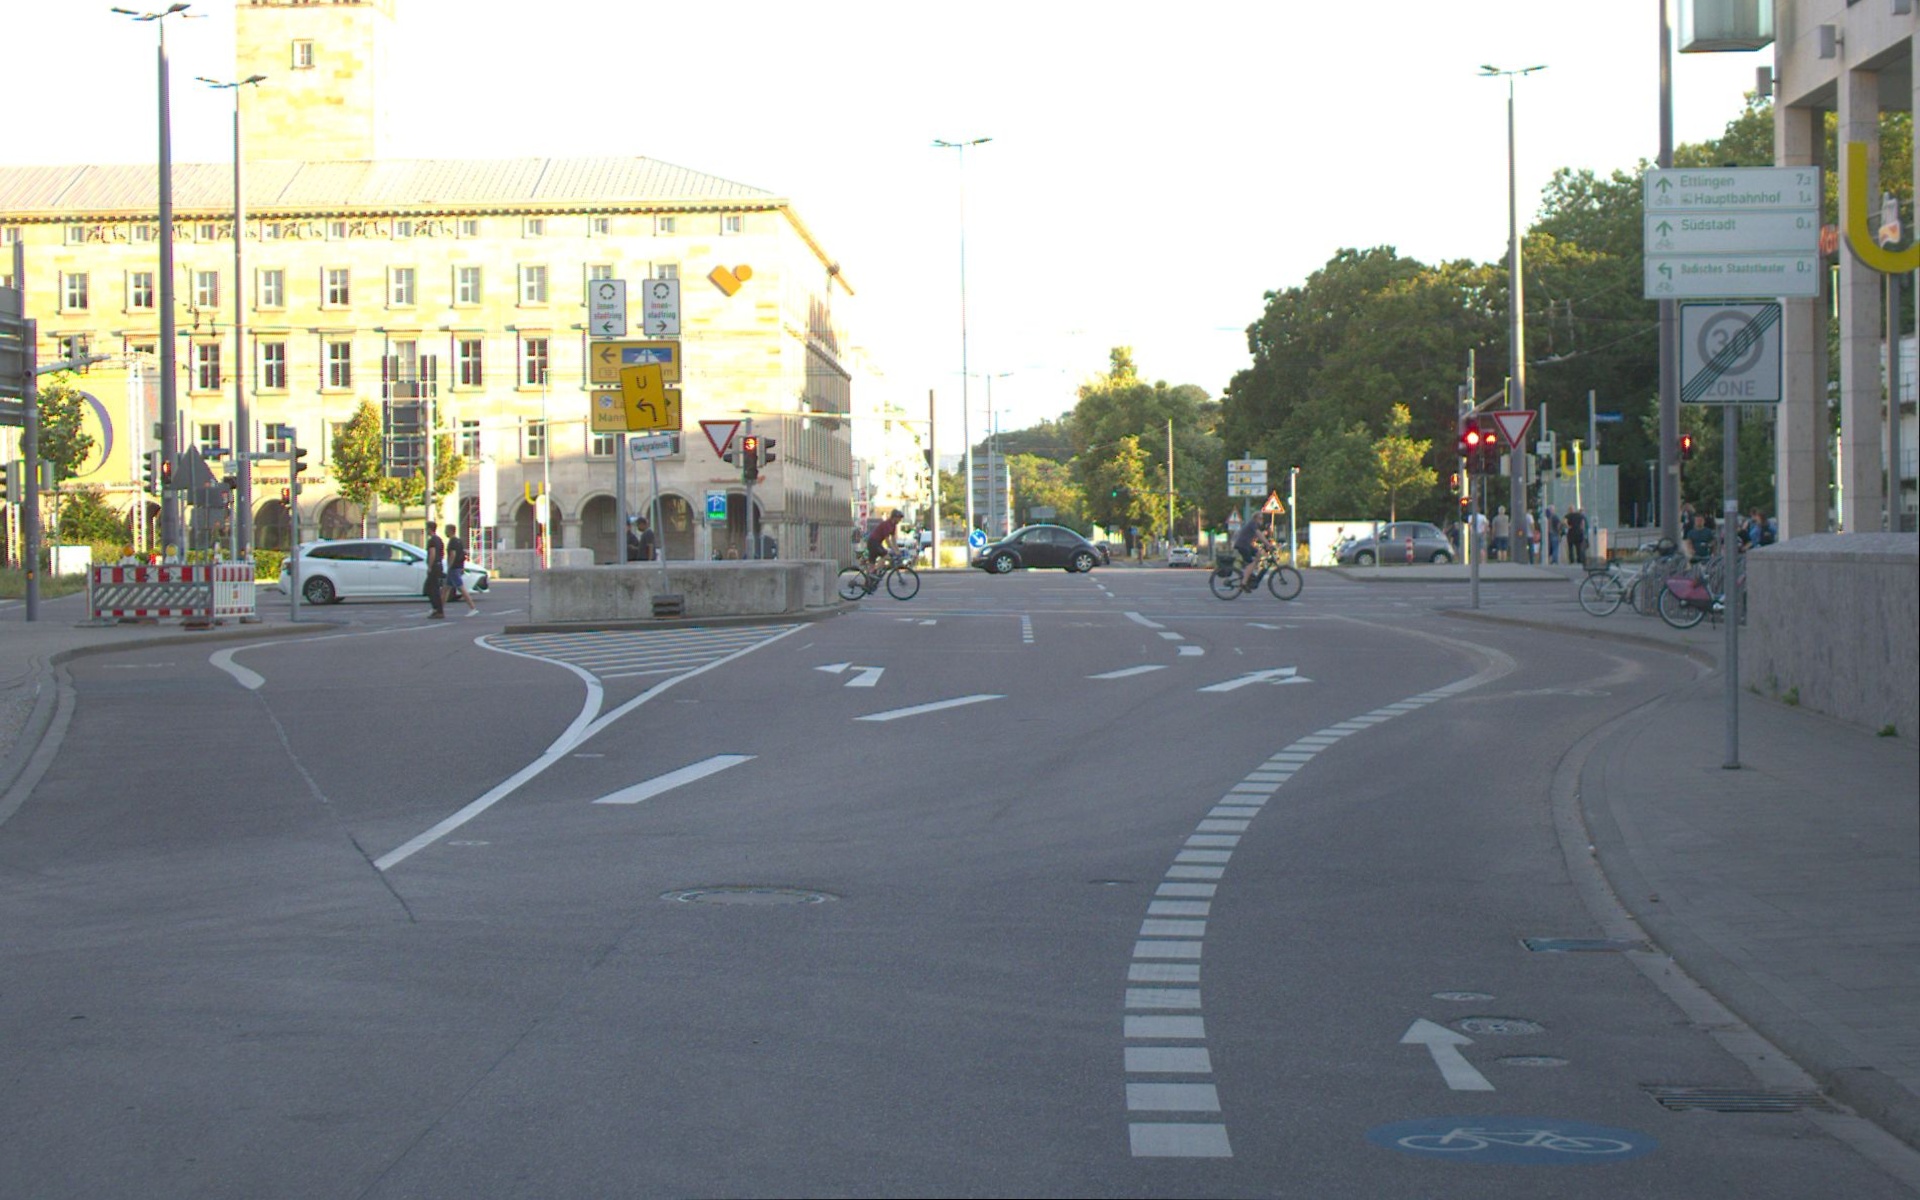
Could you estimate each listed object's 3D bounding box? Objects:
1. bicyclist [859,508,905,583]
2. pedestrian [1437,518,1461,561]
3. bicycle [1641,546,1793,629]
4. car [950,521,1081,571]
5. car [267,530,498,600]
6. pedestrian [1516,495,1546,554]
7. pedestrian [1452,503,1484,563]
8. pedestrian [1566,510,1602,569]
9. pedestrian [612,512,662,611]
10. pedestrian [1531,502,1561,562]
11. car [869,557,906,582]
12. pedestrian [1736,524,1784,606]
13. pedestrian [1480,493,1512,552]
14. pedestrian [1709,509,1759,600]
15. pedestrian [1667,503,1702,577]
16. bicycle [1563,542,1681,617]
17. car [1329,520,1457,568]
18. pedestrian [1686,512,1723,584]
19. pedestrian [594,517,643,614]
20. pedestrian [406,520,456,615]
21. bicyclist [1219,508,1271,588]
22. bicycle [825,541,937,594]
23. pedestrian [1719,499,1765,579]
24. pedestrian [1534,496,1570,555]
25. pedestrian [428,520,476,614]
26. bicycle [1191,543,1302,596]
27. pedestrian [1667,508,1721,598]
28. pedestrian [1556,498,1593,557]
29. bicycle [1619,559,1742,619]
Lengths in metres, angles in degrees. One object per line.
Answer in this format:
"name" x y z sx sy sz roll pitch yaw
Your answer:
"bicyclist" -1.598 -1.129 70.553 0.879 1.525 0.653 -1 1 3
"pedestrian" 19.679 -2.428 138.260 0.808 1.724 0.929 0 1 0
"bicycle" 10.117 -0.172 45.960 1.898 1.044 0.570 2 1 6
"car" 1.726 -1.664 105.796 3.987 1.489 1.828 -1 1 2
"car" -12.916 -0.794 77.060 4.797 1.490 2.128 0 1 1
"pedestrian" 16.791 -2.213 101.059 0.809 1.724 0.687 0 1 14
"pedestrian" 14.791 -1.953 100.115 0.808 1.724 0.688 0 1 0
"pedestrian" 18.411 -1.776 101.450 0.685 1.724 0.811 -1 1 -25
"pedestrian" -5.864 -0.702 62.356 0.738 1.771 0.864 -2 1 -13
"pedestrian" 17.084 -1.979 100.280 0.809 1.724 0.687 0 1 14
"car" -4.484 -1.887 212.470 1.994 1.514 4.000 -1 1 3
"pedestrian" 17.079 -0.751 73.392 0.893 1.724 0.688 0 1 5
"pedestrian" 15.621 -2.255 100.184 0.808 1.724 0.688 0 1 0
"pedestrian" 15.502 -0.916 68.868 0.756 1.771 0.741 -3 1 2
"pedestrian" 16.945 -1.401 80.440 0.692 1.724 0.741 0 1 3
"bicycle" 10.736 -0.331 55.759 1.819 1.208 0.570 0 1 17
"car" 13.540 -1.764 107.510 3.713 1.448 1.546 -1 1 -5
"pedestrian" 17.896 -1.251 82.673 0.836 1.724 0.688 0 1 10
"pedestrian" -6.290 -0.640 63.288 0.738 1.771 0.864 0 1 -17
"pedestrian" -10.104 -0.624 65.672 0.738 1.771 0.863 -3 1 -1
"bicyclist" 5.841 -1.075 70.510 1.020 1.615 0.653 -1 1 3
"bicycle" -1.609 -0.676 70.558 2.242 1.058 0.653 -1 1 3
"pedestrian" 17.125 -1.336 75.291 0.893 1.724 0.688 0 1 4
"pedestrian" 17.516 -2.211 101.764 0.810 1.724 0.686 0 1 37
"pedestrian" -9.832 -0.642 66.581 0.738 1.771 0.863 -3 1 -1
"bicycle" 5.871 -0.634 70.516 2.242 1.058 0.653 -1 1 3
"pedestrian" 14.712 -0.945 68.928 0.860 1.771 0.741 -3 1 2
"pedestrian" 17.906 -2.108 100.239 0.808 1.724 0.688 -1 1 -22
"bicycle" 11.594 -0.181 55.349 1.867 0.933 0.516 -1 1 0
